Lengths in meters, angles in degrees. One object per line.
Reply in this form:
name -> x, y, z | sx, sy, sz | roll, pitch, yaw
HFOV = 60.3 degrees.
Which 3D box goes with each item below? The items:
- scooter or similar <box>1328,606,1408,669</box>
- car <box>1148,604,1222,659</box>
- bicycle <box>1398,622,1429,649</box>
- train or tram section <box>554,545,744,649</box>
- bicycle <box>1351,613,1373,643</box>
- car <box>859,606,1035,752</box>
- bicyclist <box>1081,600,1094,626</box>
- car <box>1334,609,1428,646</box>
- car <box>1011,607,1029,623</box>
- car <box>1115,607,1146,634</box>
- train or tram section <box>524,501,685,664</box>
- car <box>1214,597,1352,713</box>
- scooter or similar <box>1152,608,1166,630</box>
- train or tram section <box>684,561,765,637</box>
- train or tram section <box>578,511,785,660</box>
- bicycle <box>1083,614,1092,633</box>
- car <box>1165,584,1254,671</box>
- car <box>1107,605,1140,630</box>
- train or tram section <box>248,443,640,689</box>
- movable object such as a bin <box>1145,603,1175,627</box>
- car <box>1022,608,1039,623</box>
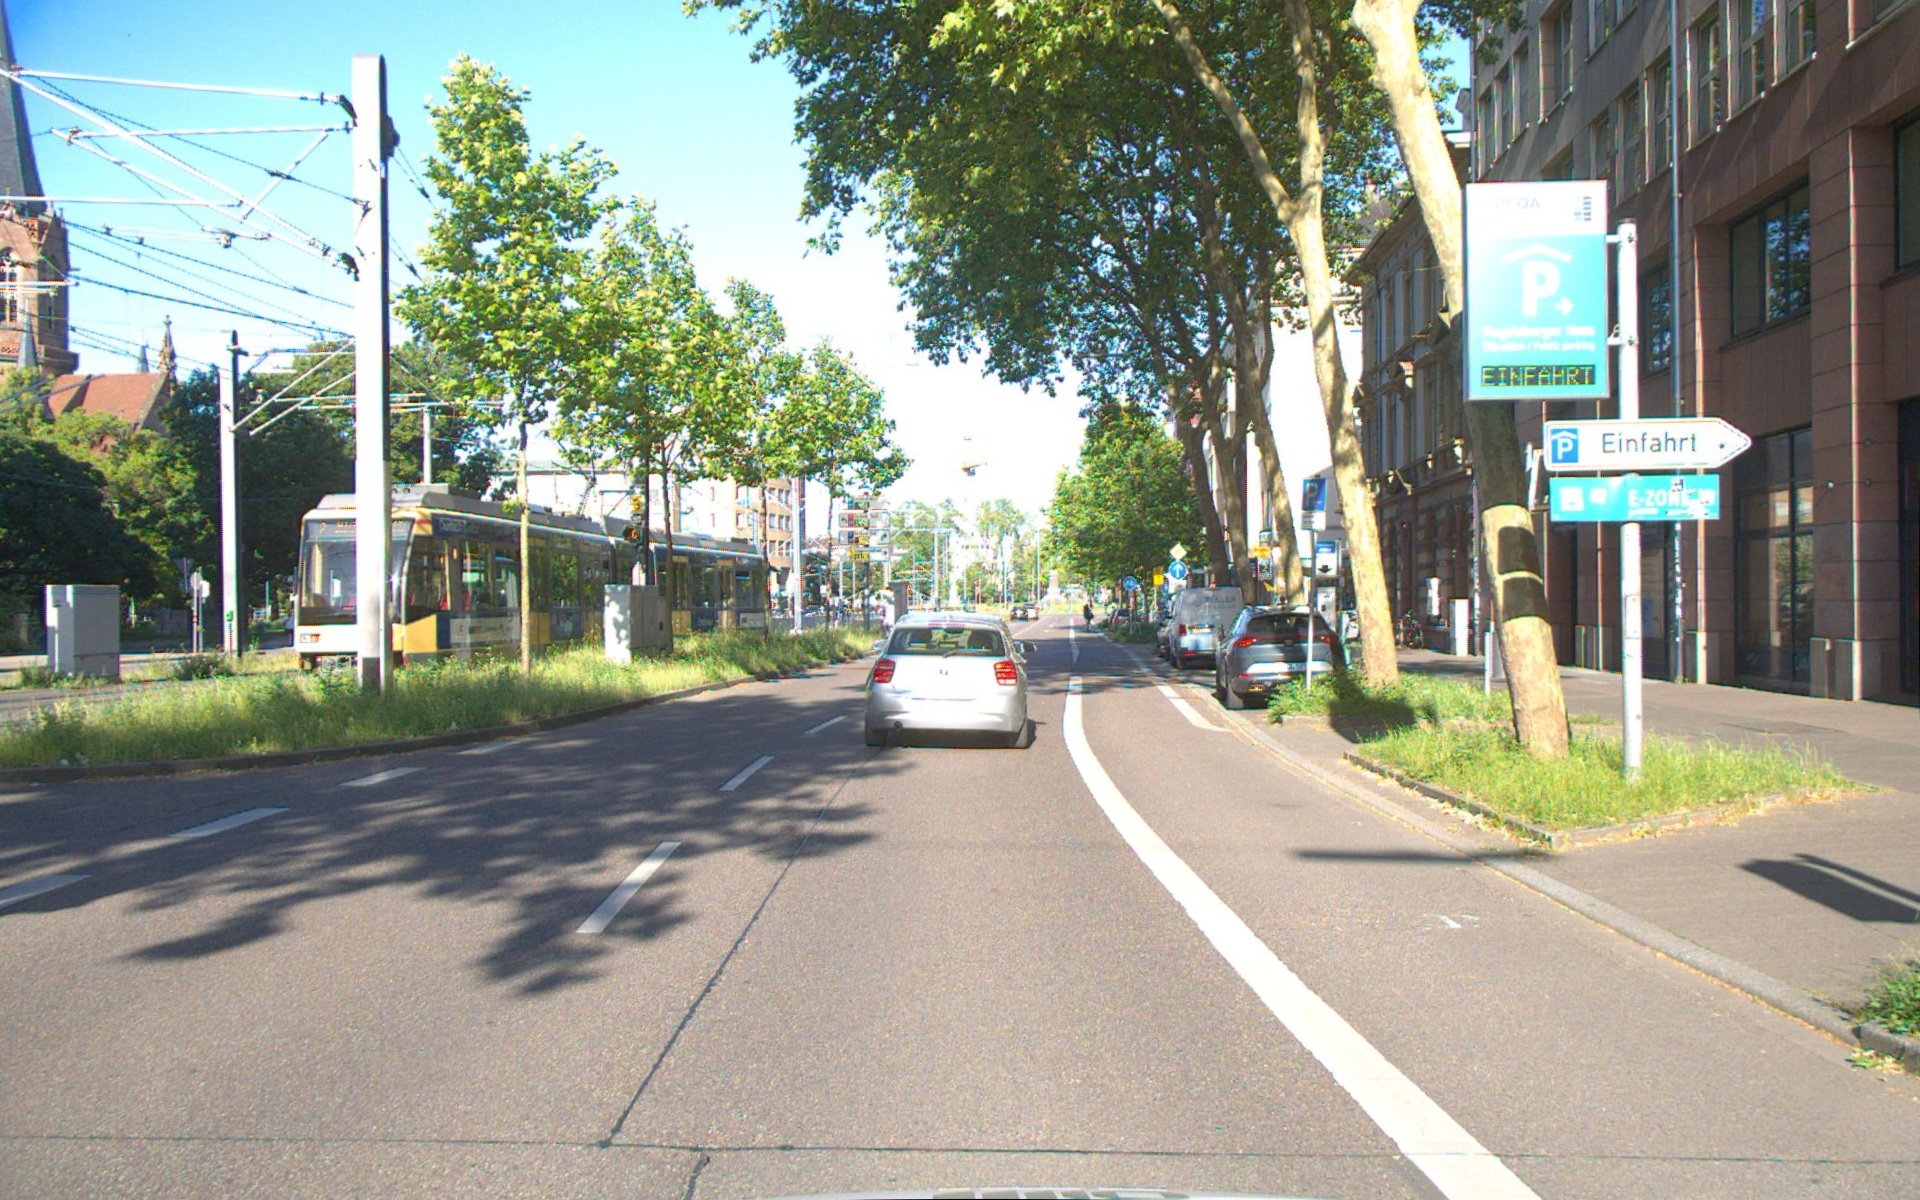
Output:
scooter or similar -> 8.246, 0.751, 33.483 | 1.508, 1.259, 0.449 | -1, -1, 4
car -> 6.783, 0.922, 50.221 | 1.780, 1.541, 4.709 | 1, 0, 3
bicycle -> 13.797, 1.064, 50.332 | 0.537, 0.787, 1.663 | -2, -1, 4
train or tram section -> -12.075, -0.088, 67.470 | 2.902, 3.544, 21.224 | 1, 0, 2
bicycle -> 14.036, 0.964, 57.776 | 0.406, 1.015, 1.883 | 0, -1, 4
car -> -0.130, 0.814, 18.830 | 1.761, 1.439, 4.000 | 1, 0, 0
bicyclist -> 7.853, 0.816, 101.754 | 0.768, 1.558, 0.895 | 1, -1, 4
car -> 18.626, 1.203, 73.227 | 3.855, 1.500, 1.667 | 1, -1, 8
car -> 5.715, 1.455, 157.052 | 1.691, 1.496, 4.411 | 0, 0, 1
car -> 10.381, 1.250, 100.731 | 1.659, 1.528, 3.803 | -3, 0, 4
train or tram section -> -9.105, -0.421, 42.721 | 2.892, 3.965, 3.868 | 1, -1, 6
car -> 4.905, 0.791, 25.582 | 1.633, 1.598, 4.282 | 1, 0, 5
scooter or similar -> 11.342, 1.078, 94.255 | 0.371, 1.217, 1.574 | -1, -1, 23
train or tram section -> -11.486, -0.060, 81.176 | 2.895, 3.545, 6.061 | 1, 0, 2
train or tram section -> -8.096, -0.346, 49.990 | 2.890, 3.965, 10.811 | 1, 0, 8
bicycle -> 7.835, 1.446, 101.723 | 0.489, 1.107, 1.998 | 1, 0, 4
car -> 6.276, 0.679, 42.040 | 1.817, 2.049, 4.726 | 1, 0, 4
car -> 10.676, 1.131, 108.387 | 1.995, 1.535, 4.596 | 0, 0, 4
train or tram section -> -9.681, -0.502, 33.720 | 2.868, 3.879, 14.277 | 1, 0, 2
movable object such as a bin -> 16.528, 1.204, 136.784 | 1.906, 1.875, 3.479 | -1, 1, -2
car -> 7.055, 1.513, 165.076 | 1.610, 1.446, 4.002 | 1, 0, 4
